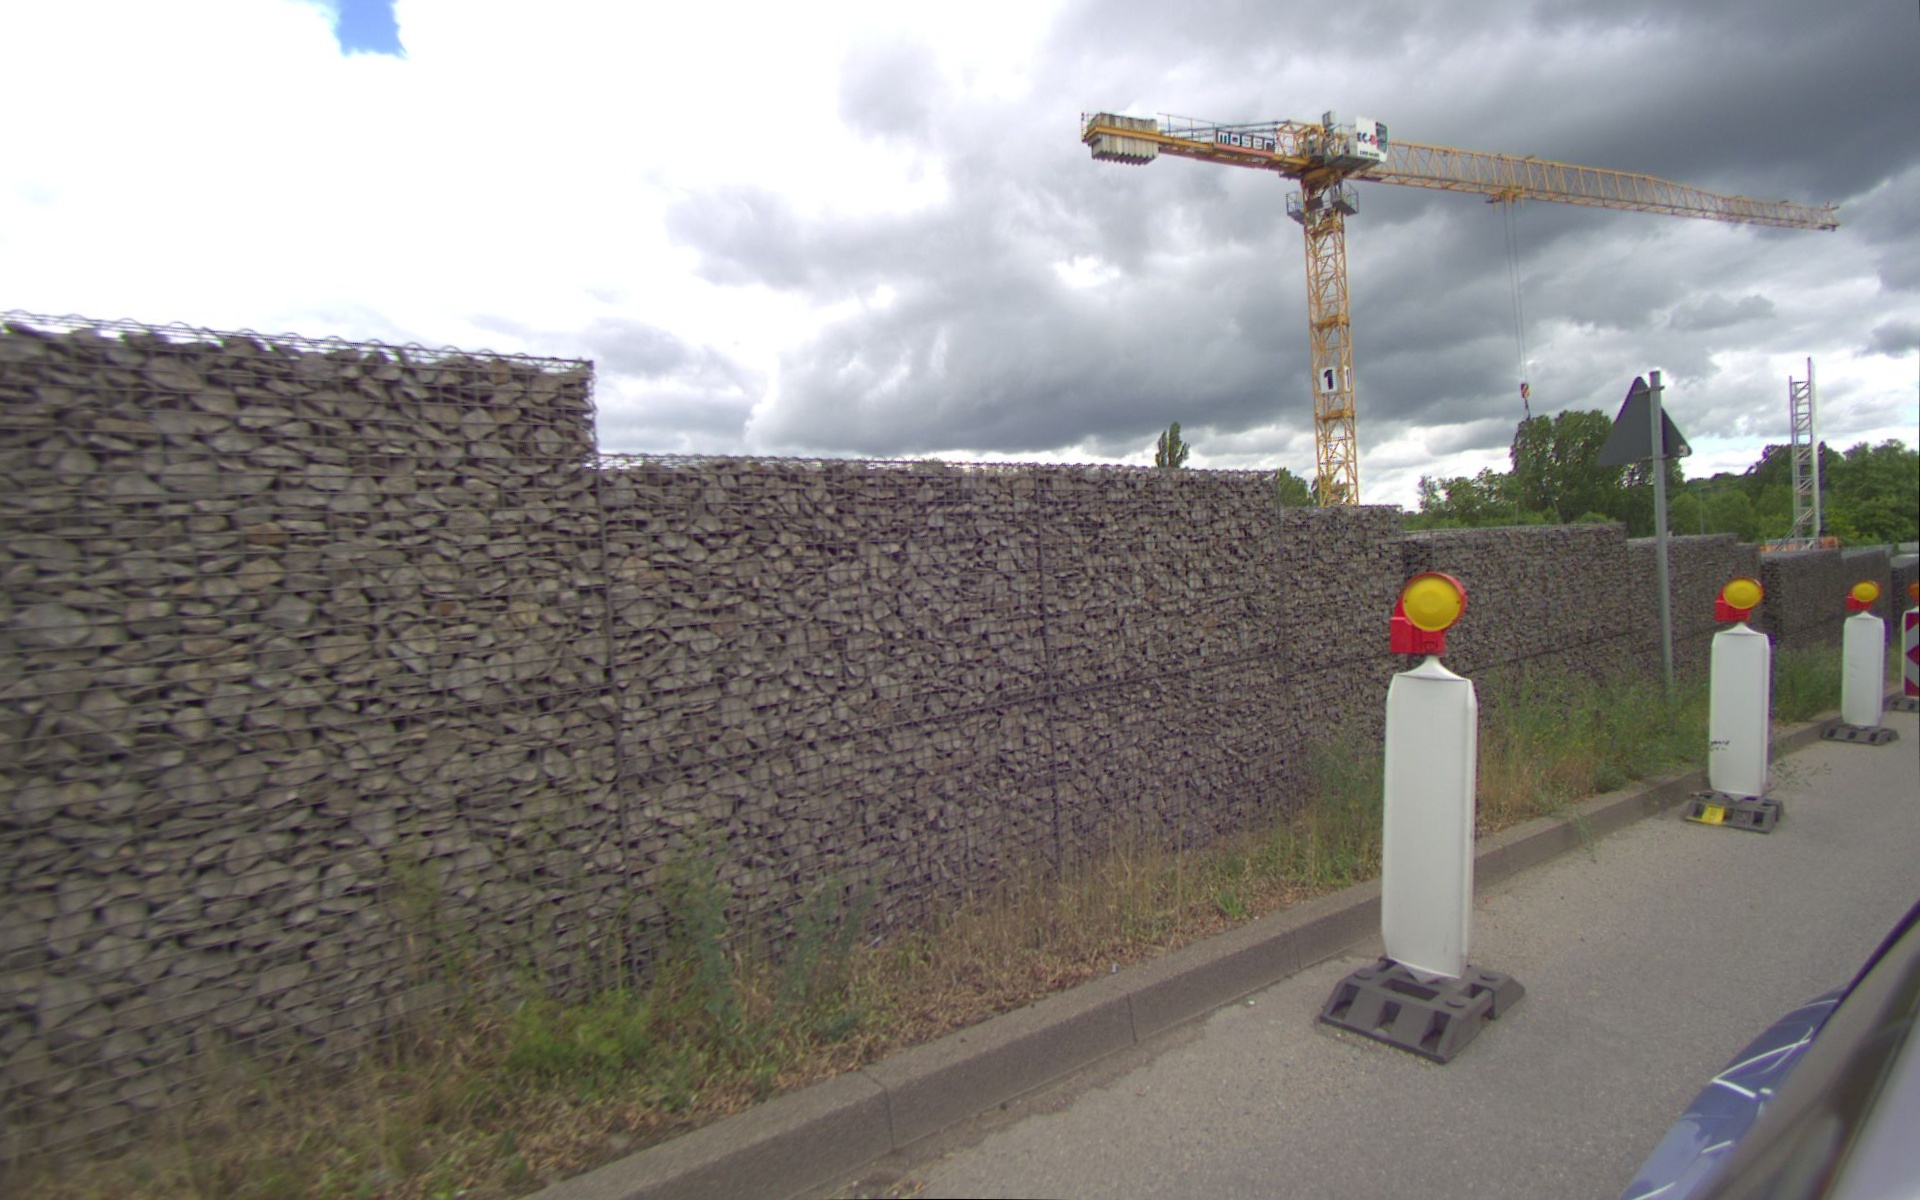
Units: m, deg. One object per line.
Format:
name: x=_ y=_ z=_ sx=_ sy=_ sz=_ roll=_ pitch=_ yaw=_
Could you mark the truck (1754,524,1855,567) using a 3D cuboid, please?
truck: x=89.609 y=-5.695 z=107.727 sx=2.988 sy=3.946 sz=9.988 roll=-4 pitch=1 yaw=6
